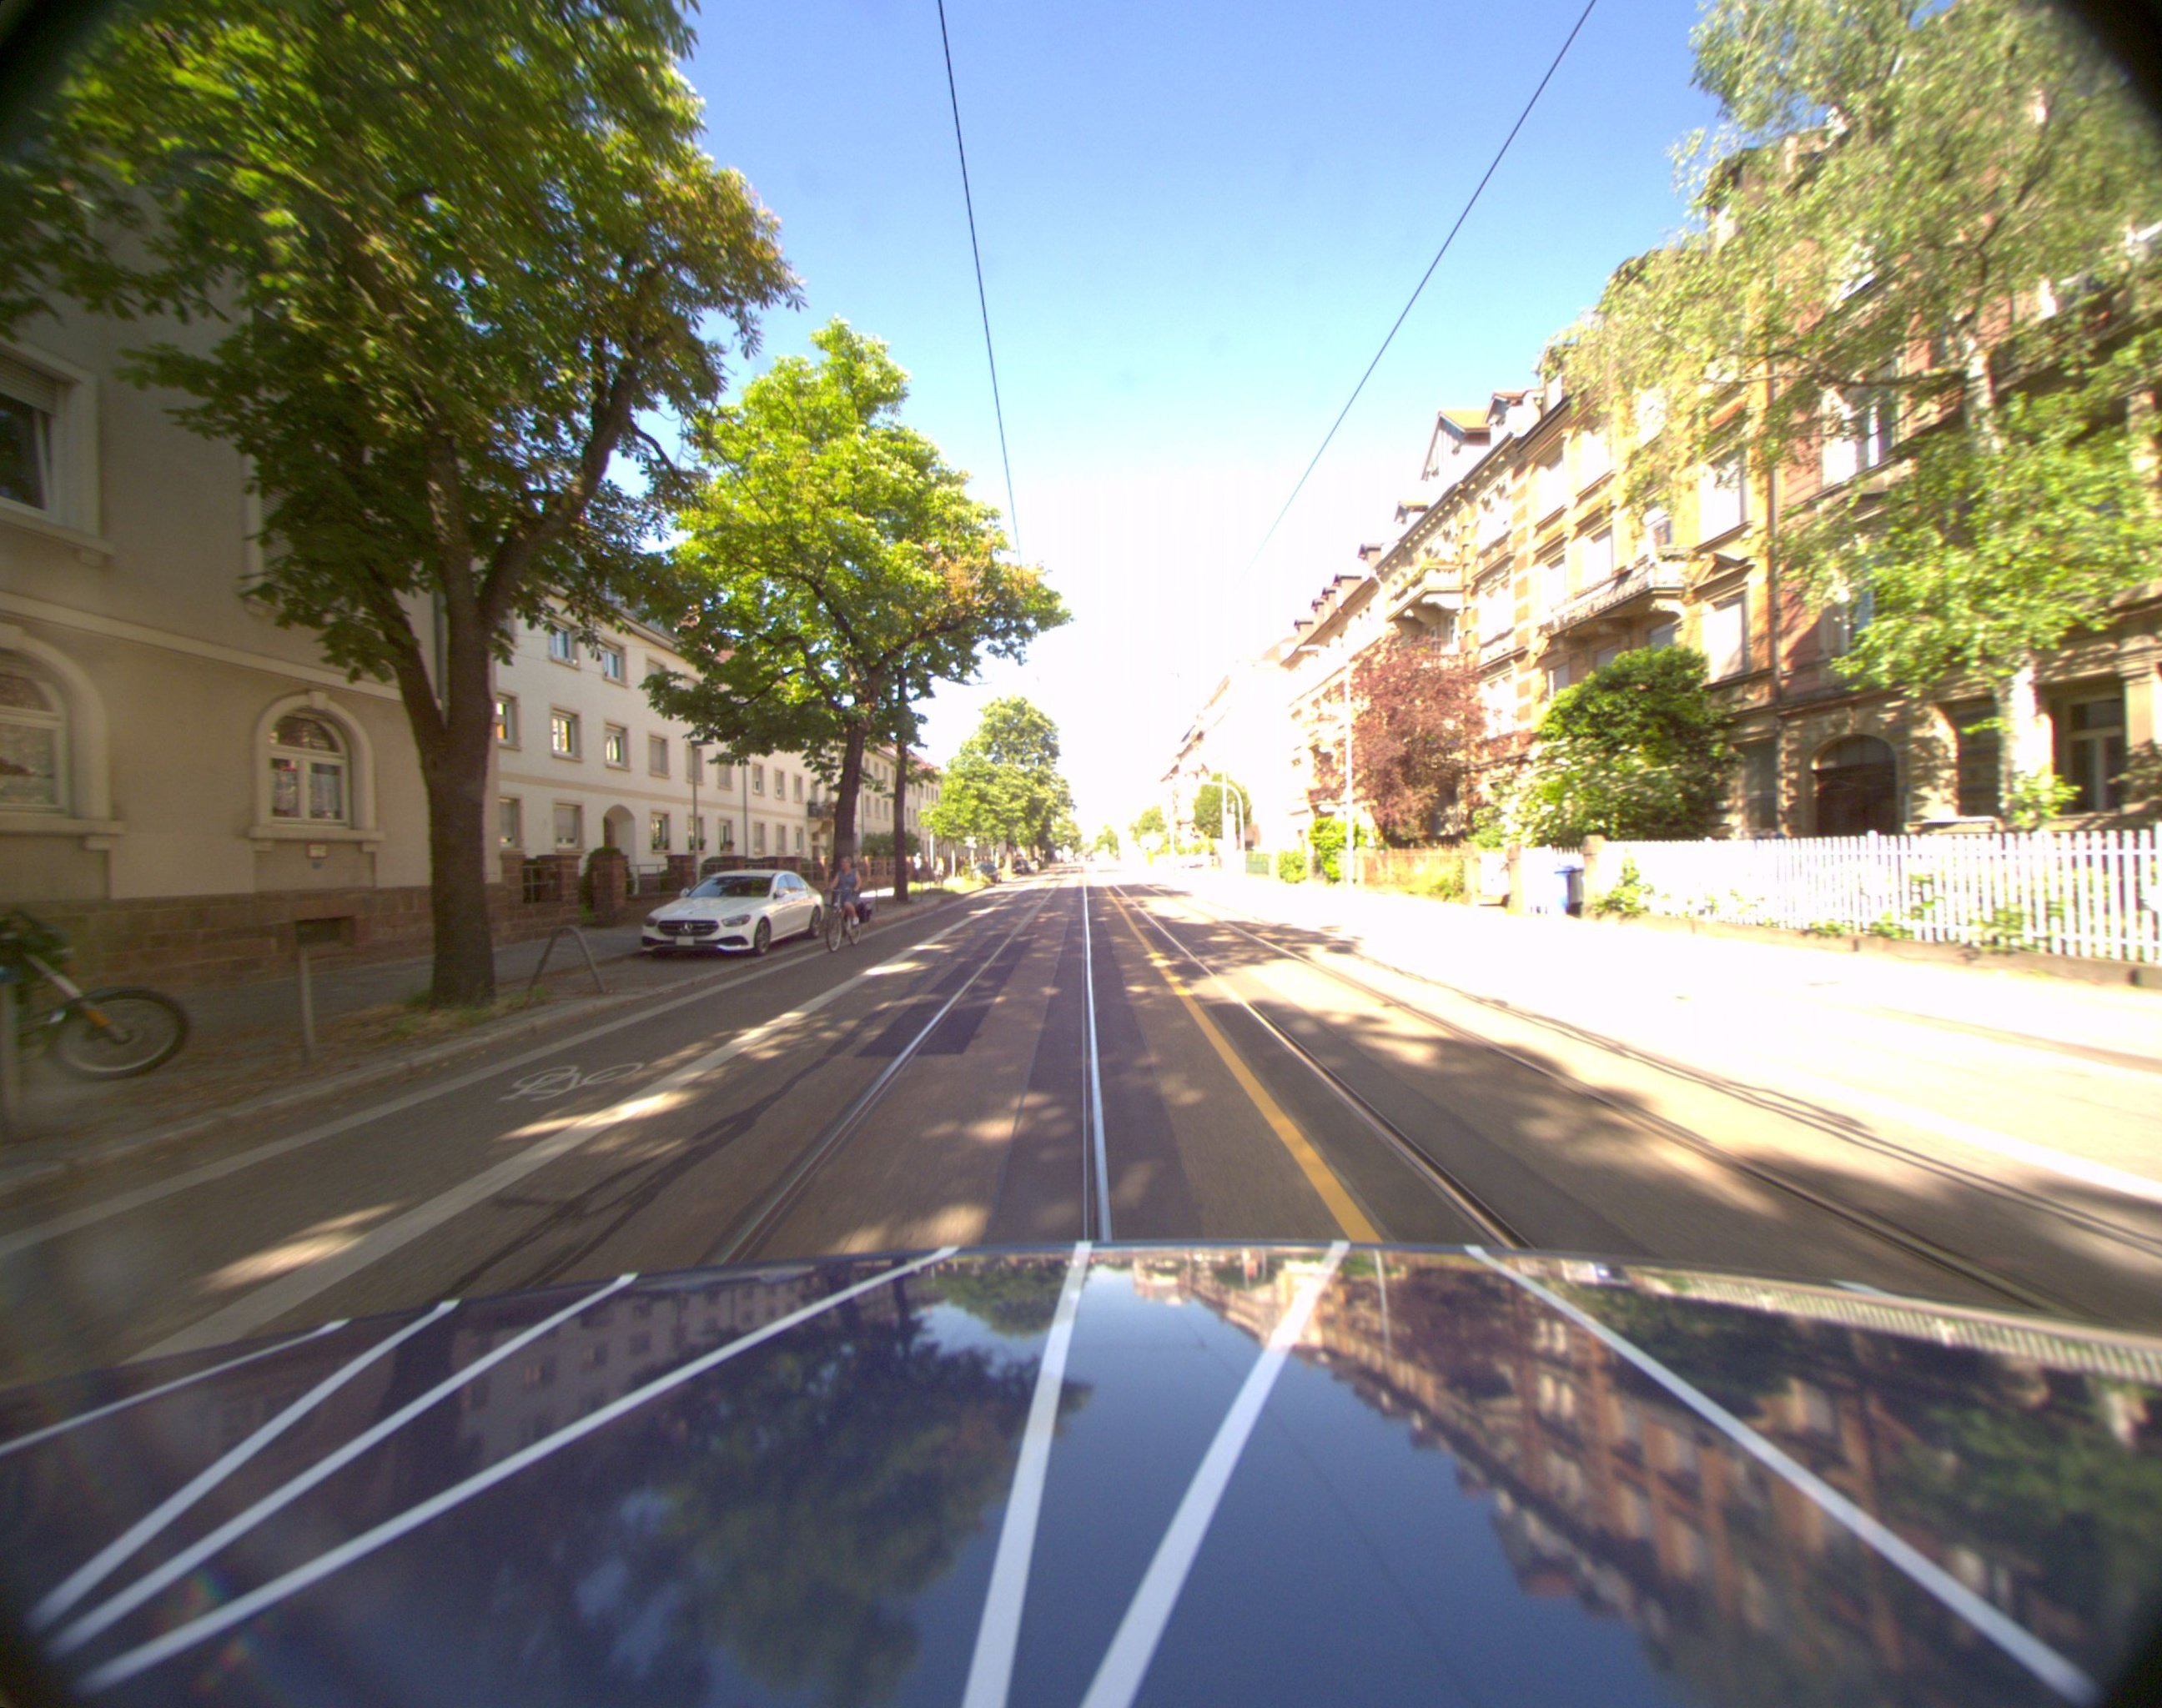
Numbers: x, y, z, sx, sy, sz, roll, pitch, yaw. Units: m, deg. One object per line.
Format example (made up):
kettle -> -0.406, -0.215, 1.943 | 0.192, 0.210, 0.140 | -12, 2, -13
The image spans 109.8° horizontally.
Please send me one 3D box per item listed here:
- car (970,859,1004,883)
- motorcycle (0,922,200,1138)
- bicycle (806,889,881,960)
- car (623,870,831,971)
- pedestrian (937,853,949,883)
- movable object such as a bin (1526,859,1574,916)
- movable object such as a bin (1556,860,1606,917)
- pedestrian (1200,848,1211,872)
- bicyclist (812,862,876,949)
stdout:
car -> -6.005, 1.054, 48.719 | 1.761, 1.458, 4.613 | 0, 0, -2
motorcycle -> -7.075, 1.136, 4.597 | 0.763, 1.243, 2.263 | -1, 0, 3
bicycle -> -4.312, 1.243, 13.961 | 0.776, 1.080, 2.058 | -2, 0, -2
car -> -6.315, 1.088, 14.260 | 1.824, 1.475, 4.748 | 0, 0, -2
pedestrian -> -9.350, 0.938, 51.541 | 0.743, 2.002, 0.687 | -1, 1, -8
movable object such as a bin -> 10.022, 0.698, 16.246 | 0.590, 1.169, 0.665 | -1, 1, -4
movable object such as a bin -> 10.717, 0.724, 16.297 | 0.590, 1.169, 0.665 | -1, 1, -4
pedestrian -> 9.563, 0.453, 58.441 | 0.809, 1.825, 0.754 | -1, 1, 9
bicyclist -> -4.322, 0.909, 13.962 | 0.776, 1.505, 1.229 | -2, 0, -2
